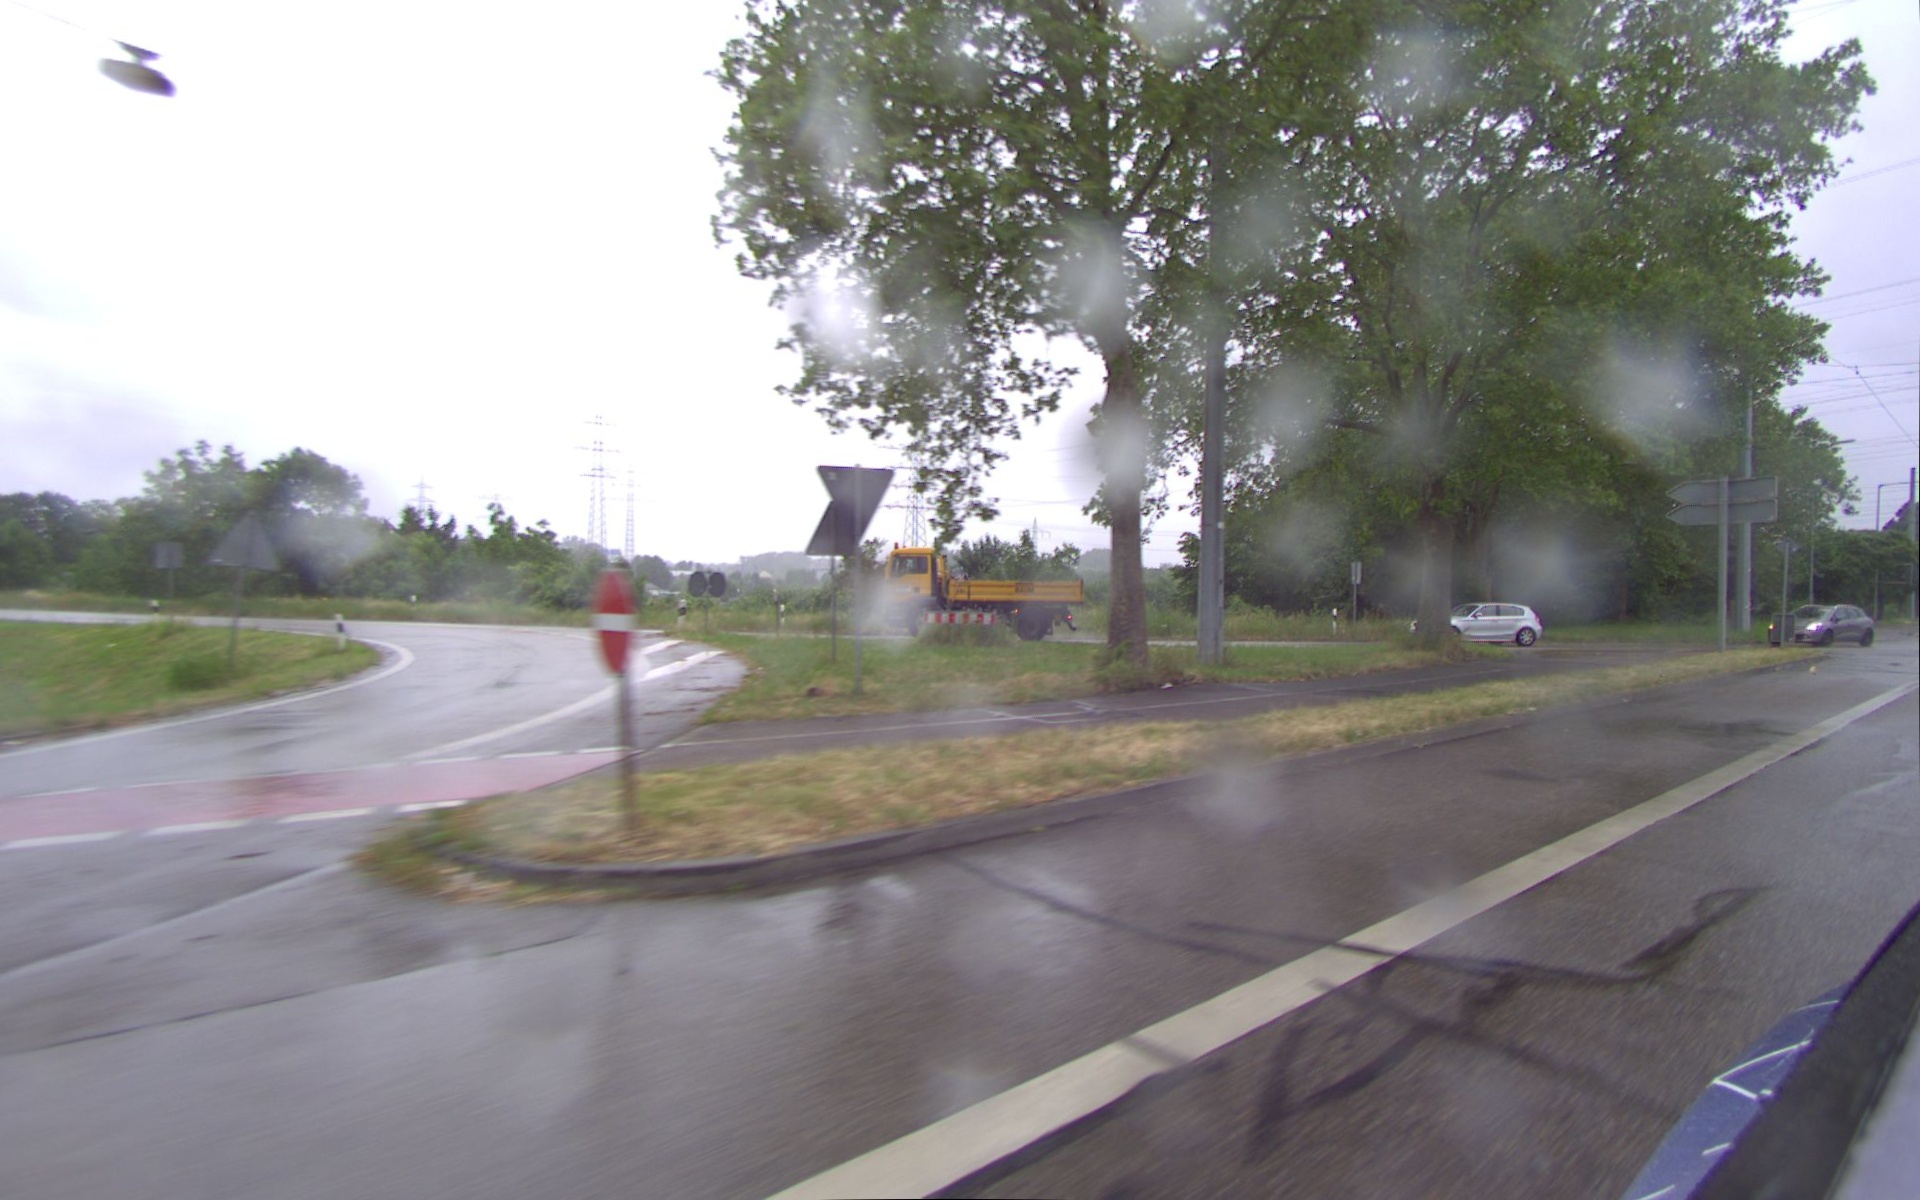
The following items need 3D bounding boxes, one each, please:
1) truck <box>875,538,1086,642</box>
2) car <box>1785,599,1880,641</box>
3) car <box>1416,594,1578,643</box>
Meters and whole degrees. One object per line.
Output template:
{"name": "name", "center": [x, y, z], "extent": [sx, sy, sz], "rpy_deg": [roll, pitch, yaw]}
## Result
{"name": "truck", "center": [0.760, -0.333, 33.907], "extent": [6.813, 3.299, 2.559], "rpy_deg": [1, -1, 7]}
{"name": "car", "center": [30.860, 0.703, 35.759], "extent": [4.201, 1.374, 1.891], "rpy_deg": [1, -1, -40]}
{"name": "car", "center": [17.575, 0.591, 33.238], "extent": [4.514, 1.522, 1.633], "rpy_deg": [1, -1, -5]}
